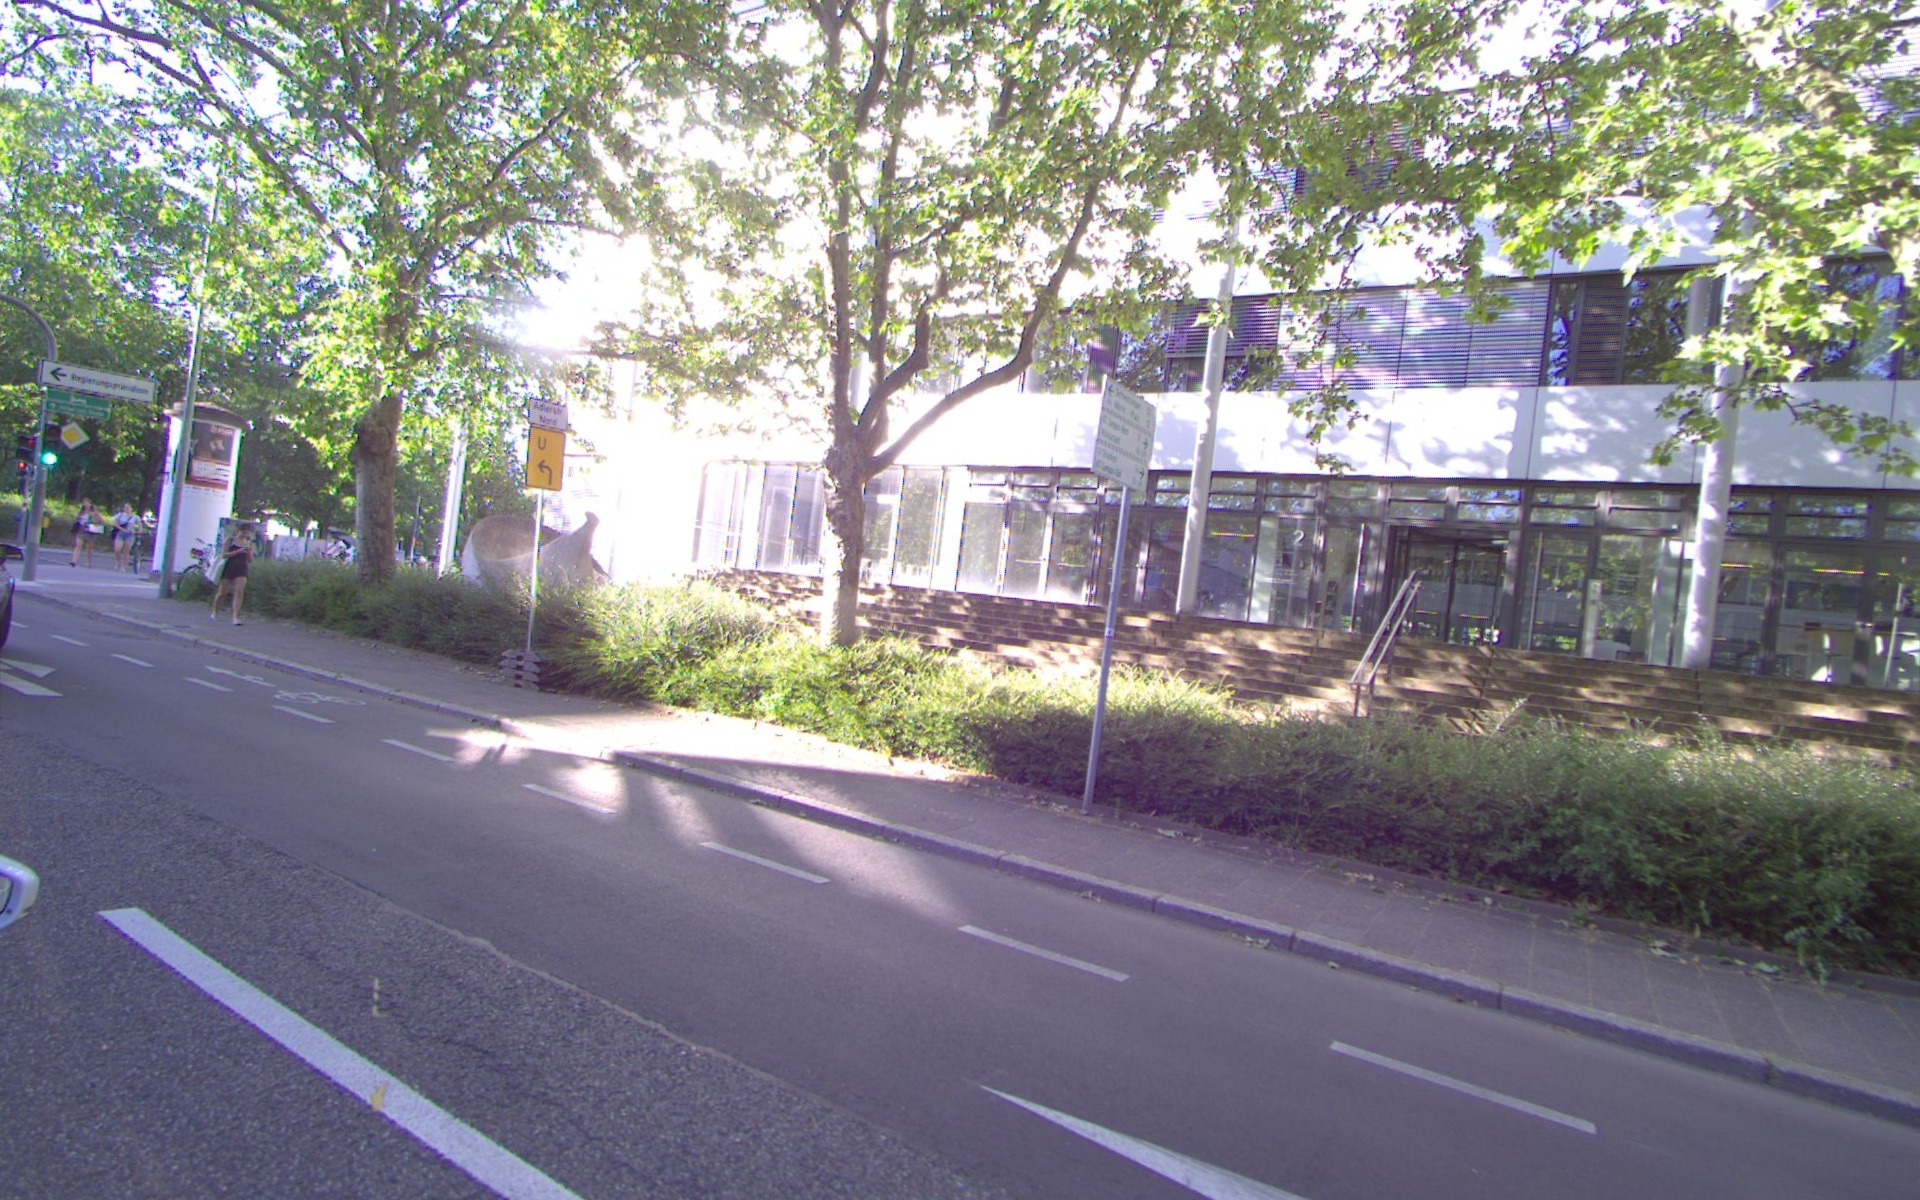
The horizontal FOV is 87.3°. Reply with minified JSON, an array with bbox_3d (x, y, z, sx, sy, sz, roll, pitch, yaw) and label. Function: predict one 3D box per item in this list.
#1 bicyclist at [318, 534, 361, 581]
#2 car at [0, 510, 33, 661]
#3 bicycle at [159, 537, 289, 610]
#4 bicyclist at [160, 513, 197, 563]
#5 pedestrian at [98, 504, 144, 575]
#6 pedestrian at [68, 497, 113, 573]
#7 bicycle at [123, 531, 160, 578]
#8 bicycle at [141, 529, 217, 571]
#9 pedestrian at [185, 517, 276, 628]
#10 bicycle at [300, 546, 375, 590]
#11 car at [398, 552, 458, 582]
[{"bbox_3d":[-23.863,-1.639,38.702,0.856,1.634,0.965,6,-1,34],"label":"bicyclist"},{"bbox_3d":[-9.479,-0.203,8.640,1.836,1.446,4.469,9,-2,-39],"label":"car"},{"bbox_3d":[-14.856,-0.505,20.368,0.519,1.203,1.980,6,-2,30],"label":"bicycle"},{"bbox_3d":[-28.551,-2.267,36.738,0.664,1.717,0.711,6,-1,31],"label":"bicyclist"},{"bbox_3d":[-21.651,-1.557,25.957,0.681,1.717,0.959,8,-1,-44],"label":"pedestrian"},{"bbox_3d":[-22.172,-1.644,25.653,0.729,1.830,0.899,6,0,-41],"label":"pedestrian"},{"bbox_3d":[-21.338,-1.195,26.204,0.523,1.113,1.720,8,-2,-43],"label":"bicycle"},{"bbox_3d":[-28.546,-1.817,36.807,0.589,1.234,2.035,6,-2,31],"label":"bicycle"},{"bbox_3d":[-11.528,-0.430,15.909,0.893,1.651,0.798,6,0,33],"label":"pedestrian"},{"bbox_3d":[-23.901,-1.220,38.675,0.649,1.341,2.293,6,-2,32],"label":"bicycle"},{"bbox_3d":[-34.517,-2.145,65.268,3.732,1.500,1.633,6,-2,31],"label":"car"}]
